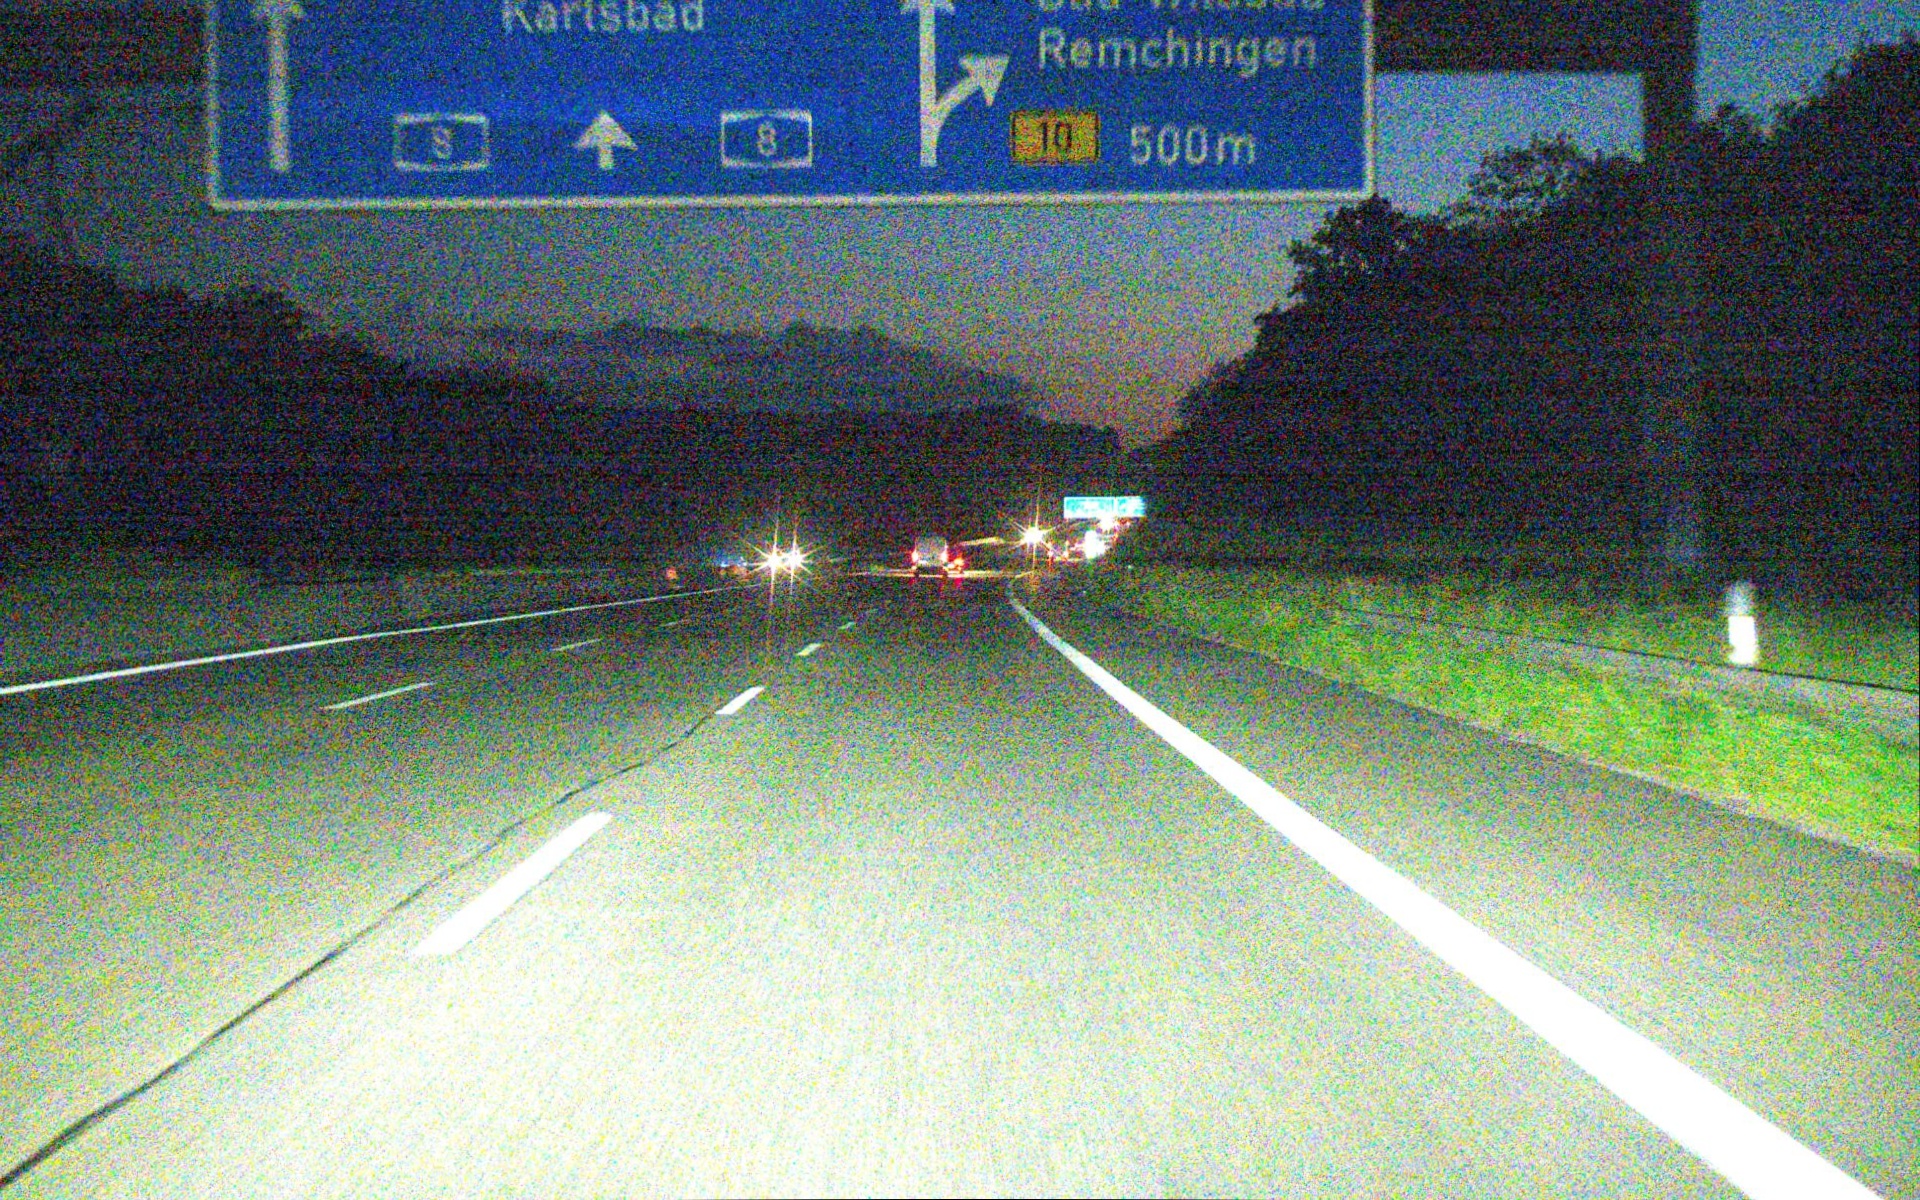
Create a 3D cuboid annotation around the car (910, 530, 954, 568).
[{"bbox_3d":[-1.723,-3.169,214.379,2.511,2.306,4.970,1,1,2],"label":"car"}]
